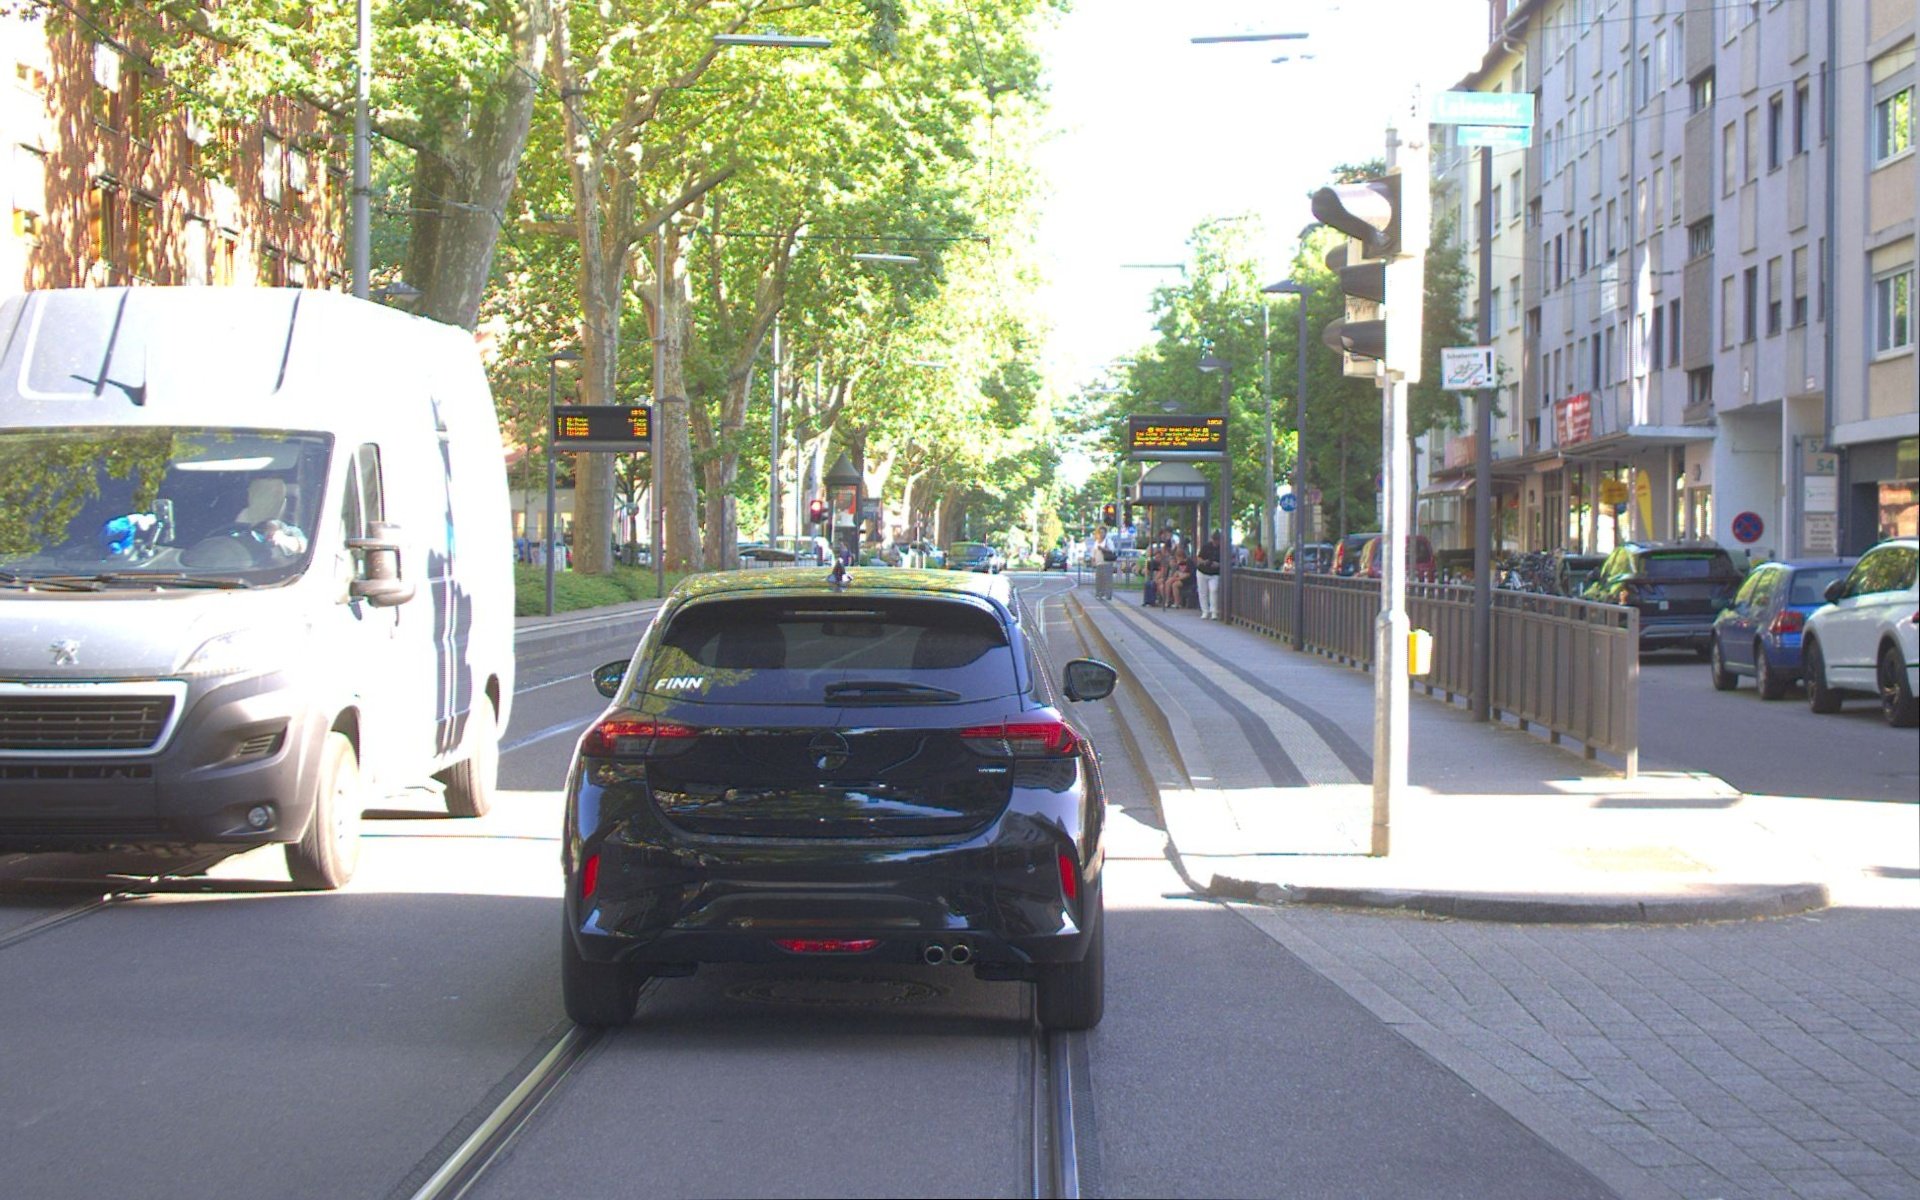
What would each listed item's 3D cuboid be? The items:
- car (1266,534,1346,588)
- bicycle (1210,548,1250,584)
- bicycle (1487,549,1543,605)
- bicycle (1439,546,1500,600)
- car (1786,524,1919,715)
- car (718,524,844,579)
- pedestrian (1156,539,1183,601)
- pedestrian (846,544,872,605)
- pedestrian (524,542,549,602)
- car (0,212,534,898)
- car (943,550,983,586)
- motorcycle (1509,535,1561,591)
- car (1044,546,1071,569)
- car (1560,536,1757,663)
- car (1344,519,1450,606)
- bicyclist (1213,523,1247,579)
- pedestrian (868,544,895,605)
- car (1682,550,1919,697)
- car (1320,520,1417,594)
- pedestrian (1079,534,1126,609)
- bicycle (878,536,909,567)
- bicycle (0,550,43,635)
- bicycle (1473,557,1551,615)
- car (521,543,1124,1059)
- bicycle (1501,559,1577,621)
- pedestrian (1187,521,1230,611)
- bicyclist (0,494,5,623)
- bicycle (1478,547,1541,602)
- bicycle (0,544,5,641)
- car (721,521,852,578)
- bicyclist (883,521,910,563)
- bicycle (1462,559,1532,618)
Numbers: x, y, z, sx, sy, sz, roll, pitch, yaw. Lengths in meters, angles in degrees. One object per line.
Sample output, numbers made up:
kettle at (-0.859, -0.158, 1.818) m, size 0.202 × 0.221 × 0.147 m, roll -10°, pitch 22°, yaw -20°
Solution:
car at (10.082, -1.135, 100.351) m, size 1.993 × 1.481 × 4.000 m, roll 2°, pitch 0°, yaw 1°
bicycle at (8.603, -1.086, 109.769) m, size 0.861 × 1.132 × 2.396 m, roll 2°, pitch 0°, yaw -5°
bicycle at (11.466, -0.475, 71.081) m, size 0.410 × 1.132 × 2.205 m, roll 2°, pitch 0°, yaw -10°
bicycle at (10.927, -0.584, 73.765) m, size 0.597 × 1.132 × 2.205 m, roll 2°, pitch 0°, yaw -10°
car at (8.878, 0.169, 31.105) m, size 1.799 × 1.600 × 4.415 m, roll 2°, pitch 0°, yaw 1°
car at (-6.417, -1.731, 123.113) m, size 4.384 × 1.845 × 2.000 m, roll 2°, pitch 0°, yaw -5°
pedestrian at (4.456, -0.633, 73.161) m, size 0.502 × 1.300 × 0.429 m, roll 2°, pitch 0°, yaw -3°
pedestrian at (-3.392, -0.869, 115.435) m, size 0.675 × 2.006 × 0.701 m, roll 3°, pitch 1°, yaw 8°
pedestrian at (-13.903, -0.916, 112.884) m, size 0.672 × 1.943 × 0.498 m, roll 3°, pitch 1°, yaw -2°
car at (-3.571, -0.202, 16.752) m, size 2.113 × 2.729 × 6.115 m, roll 0°, pitch 0°, yaw 1°
car at (0.118, -1.431, 154.099) m, size 1.745 × 1.539 × 4.000 m, roll 2°, pitch 0°, yaw 0°
motorcycle at (13.501, -0.876, 80.815) m, size 0.892 × 1.276 × 2.043 m, roll 2°, pitch 0°, yaw 1°
car at (6.856, -2.978, 242.940) m, size 1.745 × 1.539 × 4.000 m, roll 2°, pitch 0°, yaw 0°
car at (9.507, -0.026, 47.095) m, size 1.857 × 1.610 × 4.397 m, roll 2°, pitch 0°, yaw 1°
car at (10.306, -0.888, 81.307) m, size 1.993 × 1.946 × 4.000 m, roll 2°, pitch 0°, yaw 1°
bicyclist at (8.615, -1.561, 109.795) m, size 0.861 × 1.753 × 1.054 m, roll 2°, pitch 0°, yaw -5°
pedestrian at (-2.635, -0.846, 115.321) m, size 0.676 × 2.006 × 0.701 m, roll 3°, pitch 1°, yaw 13°
car at (8.999, 0.220, 36.684) m, size 1.744 × 1.435 × 4.247 m, roll 2°, pitch 0°, yaw 1°
car at (10.415, -1.095, 87.994) m, size 1.993 × 1.791 × 4.000 m, roll 2°, pitch 0°, yaw 1°
pedestrian at (3.312, -0.656, 79.834) m, size 0.751 × 1.703 × 0.762 m, roll 2°, pitch 0°, yaw 36°
bicycle at (-2.721, -1.988, 141.648) m, size 0.955 × 1.236 × 2.977 m, roll 2°, pitch 0°, yaw 4°
bicycle at (-13.071, -0.118, 46.290) m, size 0.782 × 1.107 × 2.596 m, roll 2°, pitch 0°, yaw -1°
bicycle at (11.149, -0.289, 69.546) m, size 0.611 × 1.132 × 2.922 m, roll 2°, pitch 0°, yaw -10°
car at (-0.429, 0.575, 11.934) m, size 1.759 × 1.503 × 3.683 m, roll 0°, pitch 0°, yaw -1°
bicycle at (11.052, -0.199, 65.694) m, size 0.621 × 1.132 × 2.440 m, roll 2°, pitch 0°, yaw -10°
pedestrian at (4.408, -0.608, 61.076) m, size 0.631 × 1.571 × 0.870 m, roll 3°, pitch 1°, yaw 1°
bicyclist at (-13.374, -0.570, 46.169) m, size 0.774 × 1.744 × 0.997 m, roll 2°, pitch 0°, yaw -1°
bicycle at (11.613, -0.555, 72.734) m, size 0.597 × 1.132 × 2.205 m, roll 2°, pitch 0°, yaw -10°
bicycle at (-12.055, -0.089, 40.739) m, size 0.782 × 1.187 × 2.596 m, roll 2°, pitch 0°, yaw -1°
car at (-5.609, -1.621, 110.984) m, size 4.113 × 1.695 × 1.884 m, roll 2°, pitch 0°, yaw -5°
bicyclist at (-2.634, -2.388, 142.542) m, size 0.941 × 1.697 × 1.153 m, roll 2°, pitch 0°, yaw 4°
bicycle at (10.635, -0.237, 68.145) m, size 0.602 × 1.132 × 2.435 m, roll 2°, pitch 0°, yaw -10°
